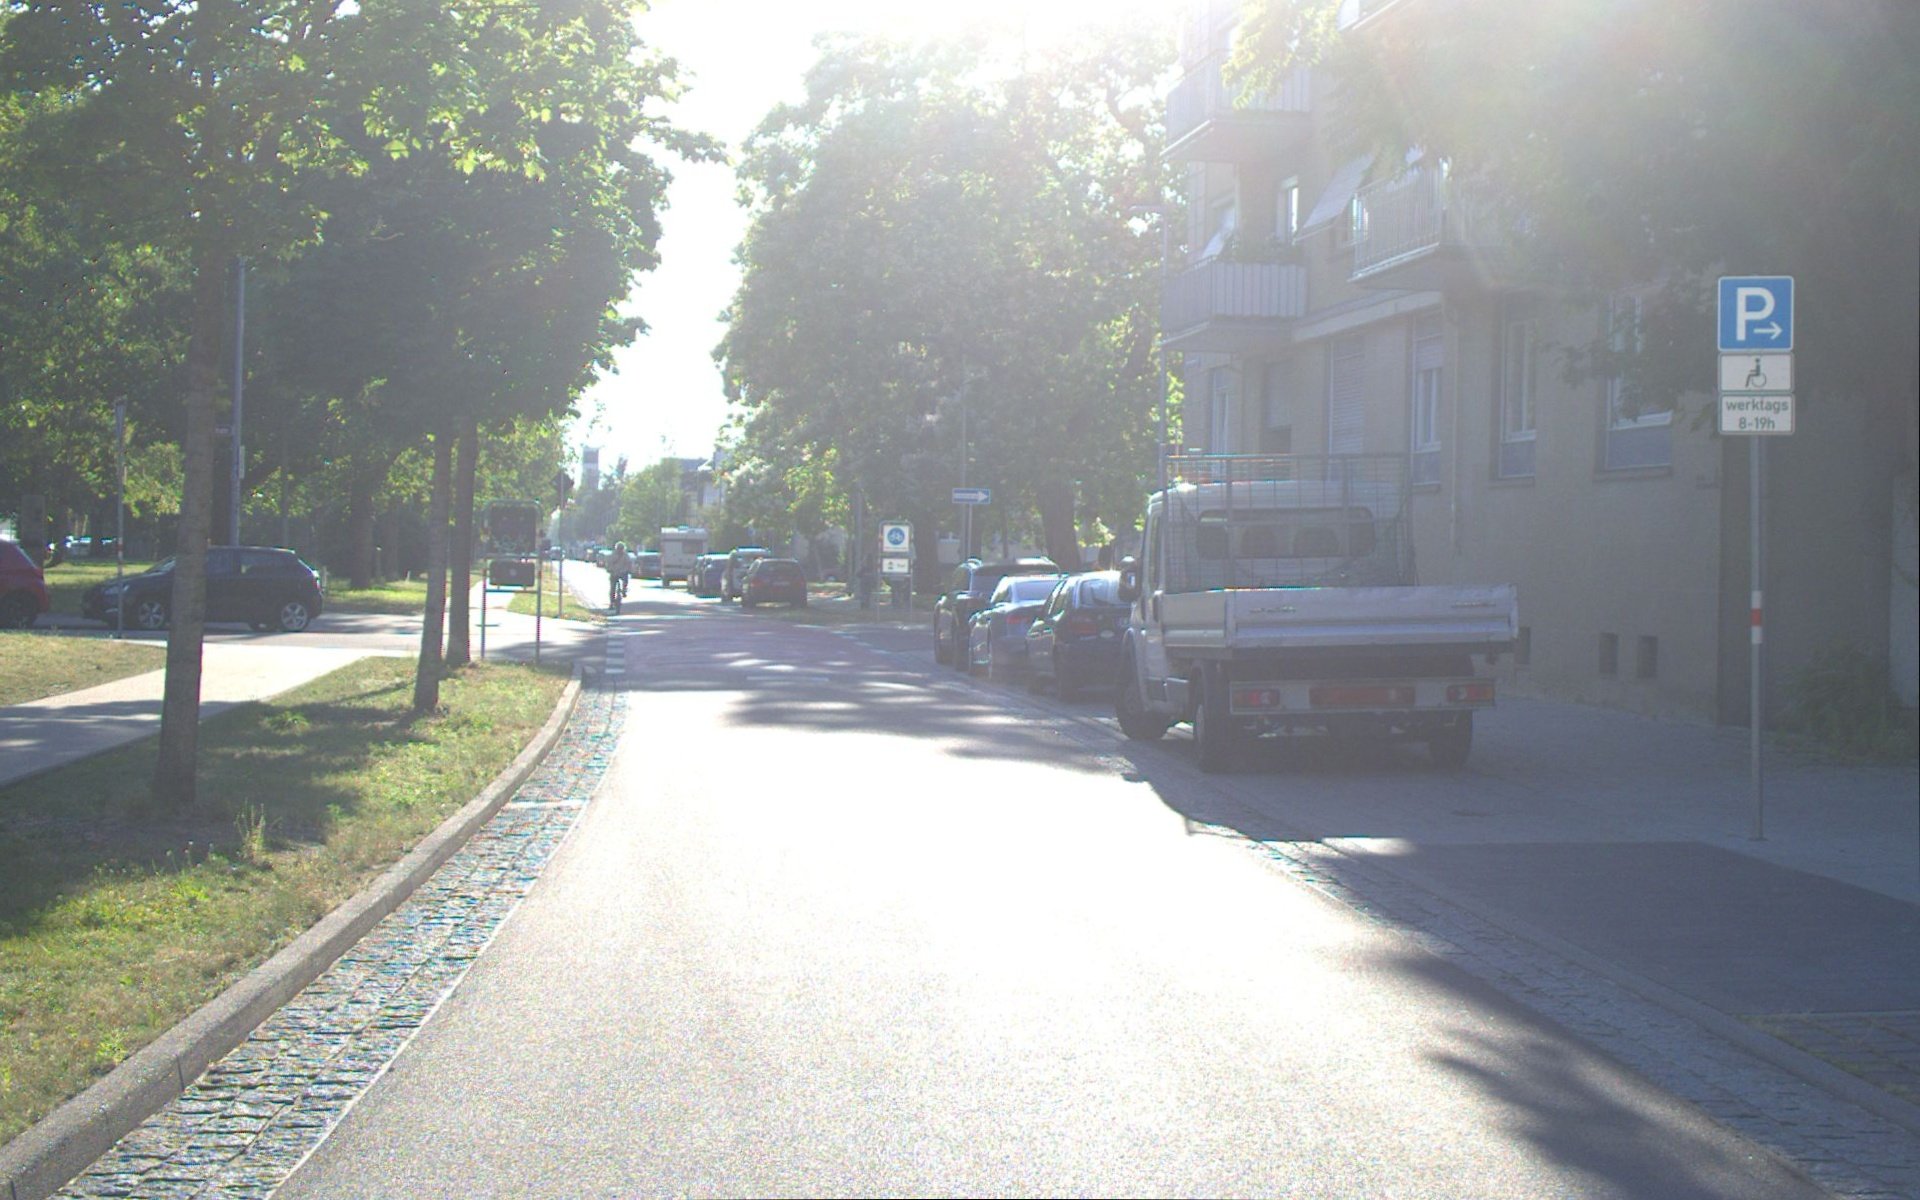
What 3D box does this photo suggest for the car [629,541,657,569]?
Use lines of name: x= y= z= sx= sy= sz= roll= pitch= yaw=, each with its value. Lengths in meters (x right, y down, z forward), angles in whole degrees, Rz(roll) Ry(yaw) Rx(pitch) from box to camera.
car: x=-24.096 y=-3.427 z=261.305 sx=1.993 sy=1.963 sz=4.001 roll=3 pitch=0 yaw=-5

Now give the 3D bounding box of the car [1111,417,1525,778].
car: x=2.648 y=-0.062 z=27.136 sx=2.211 sy=2.521 sz=6.148 roll=0 pitch=1 yaw=-4

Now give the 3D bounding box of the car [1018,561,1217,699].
car: x=1.710 y=0.299 z=38.335 sx=1.690 sy=1.435 sz=3.551 roll=1 pitch=1 yaw=-6

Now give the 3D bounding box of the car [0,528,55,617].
car: x=-16.920 y=-0.509 z=55.936 sx=3.912 sy=1.415 sz=1.772 roll=2 pitch=1 yaw=-28

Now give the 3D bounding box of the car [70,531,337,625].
car: x=-12.749 y=-0.362 z=57.960 sx=3.987 sy=1.415 sz=1.772 roll=2 pitch=1 yaw=-31

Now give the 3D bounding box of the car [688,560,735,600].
car: x=-9.919 y=-0.816 z=137.116 sx=1.793 sy=1.504 sz=4.001 roll=2 pitch=1 yaw=-4

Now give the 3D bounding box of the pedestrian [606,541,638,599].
pedestrian: x=-8.509 y=-0.749 z=86.628 sx=0.688 sy=1.429 sz=1.024 roll=2 pitch=0 yaw=-1

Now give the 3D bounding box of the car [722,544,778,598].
car: x=-7.113 y=-0.992 z=116.019 sx=1.793 sy=1.718 sz=4.001 roll=2 pitch=1 yaw=-4

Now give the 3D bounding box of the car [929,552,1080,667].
car: x=0.591 y=0.107 z=49.375 sx=1.690 sy=1.560 sz=4.105 roll=1 pitch=1 yaw=-6

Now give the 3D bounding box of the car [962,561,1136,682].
car: x=1.082 y=0.242 z=43.842 sx=1.690 sy=1.435 sz=4.105 roll=1 pitch=1 yaw=-6

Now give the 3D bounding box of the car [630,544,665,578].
car: x=-19.026 y=-2.362 z=209.551 sx=1.993 sy=1.963 sz=4.001 roll=3 pitch=0 yaw=-5

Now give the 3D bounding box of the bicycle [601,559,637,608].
bicycle: x=-8.585 y=-0.417 z=86.600 sx=0.688 sy=1.198 sz=2.343 roll=2 pitch=1 yaw=-1

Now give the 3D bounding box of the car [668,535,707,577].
car: x=-13.330 y=-2.157 z=168.328 sx=1.793 sy=1.992 sz=4.001 roll=2 pitch=1 yaw=-4

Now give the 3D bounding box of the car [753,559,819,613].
car: x=-5.156 y=-0.427 z=102.114 sx=1.793 sy=1.504 sz=4.000 roll=2 pitch=1 yaw=-1
